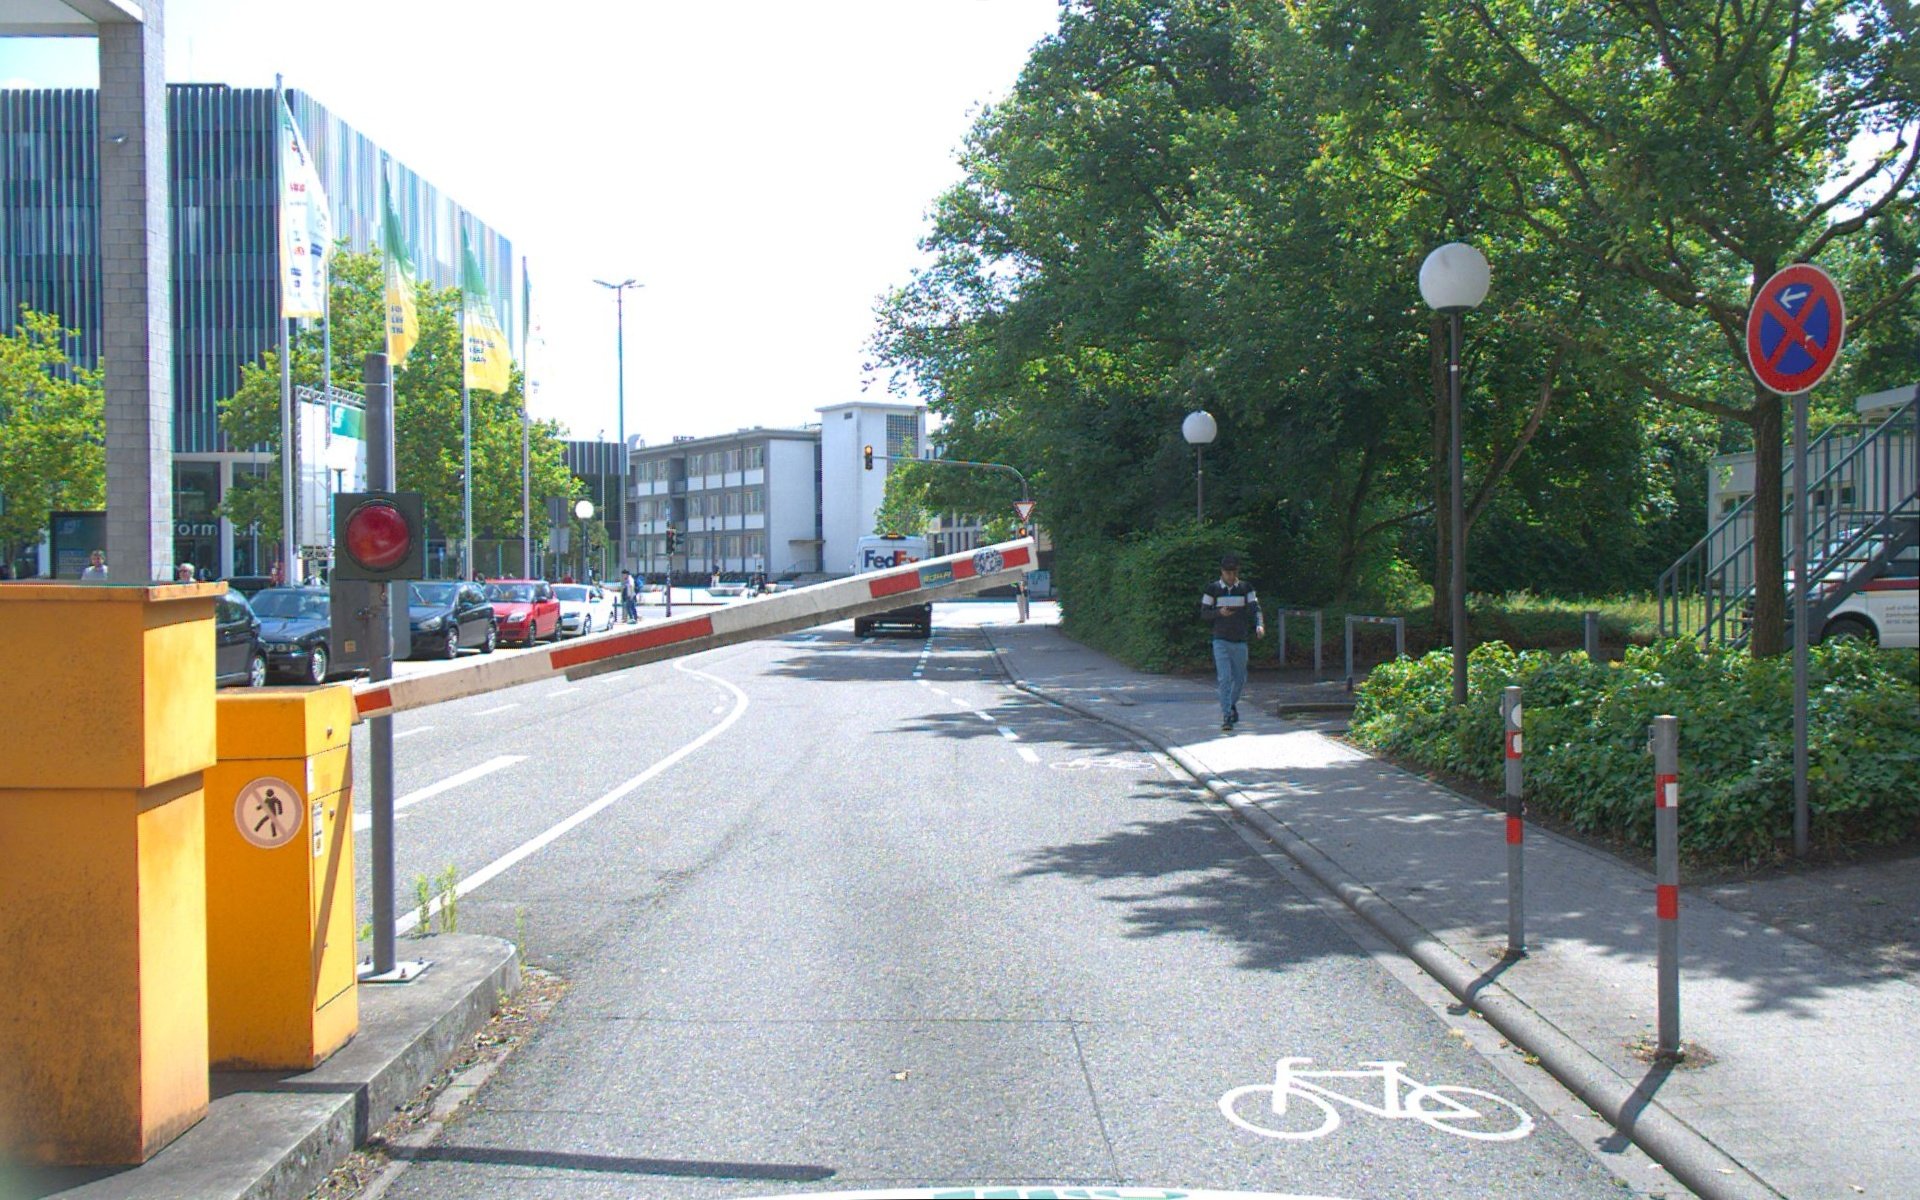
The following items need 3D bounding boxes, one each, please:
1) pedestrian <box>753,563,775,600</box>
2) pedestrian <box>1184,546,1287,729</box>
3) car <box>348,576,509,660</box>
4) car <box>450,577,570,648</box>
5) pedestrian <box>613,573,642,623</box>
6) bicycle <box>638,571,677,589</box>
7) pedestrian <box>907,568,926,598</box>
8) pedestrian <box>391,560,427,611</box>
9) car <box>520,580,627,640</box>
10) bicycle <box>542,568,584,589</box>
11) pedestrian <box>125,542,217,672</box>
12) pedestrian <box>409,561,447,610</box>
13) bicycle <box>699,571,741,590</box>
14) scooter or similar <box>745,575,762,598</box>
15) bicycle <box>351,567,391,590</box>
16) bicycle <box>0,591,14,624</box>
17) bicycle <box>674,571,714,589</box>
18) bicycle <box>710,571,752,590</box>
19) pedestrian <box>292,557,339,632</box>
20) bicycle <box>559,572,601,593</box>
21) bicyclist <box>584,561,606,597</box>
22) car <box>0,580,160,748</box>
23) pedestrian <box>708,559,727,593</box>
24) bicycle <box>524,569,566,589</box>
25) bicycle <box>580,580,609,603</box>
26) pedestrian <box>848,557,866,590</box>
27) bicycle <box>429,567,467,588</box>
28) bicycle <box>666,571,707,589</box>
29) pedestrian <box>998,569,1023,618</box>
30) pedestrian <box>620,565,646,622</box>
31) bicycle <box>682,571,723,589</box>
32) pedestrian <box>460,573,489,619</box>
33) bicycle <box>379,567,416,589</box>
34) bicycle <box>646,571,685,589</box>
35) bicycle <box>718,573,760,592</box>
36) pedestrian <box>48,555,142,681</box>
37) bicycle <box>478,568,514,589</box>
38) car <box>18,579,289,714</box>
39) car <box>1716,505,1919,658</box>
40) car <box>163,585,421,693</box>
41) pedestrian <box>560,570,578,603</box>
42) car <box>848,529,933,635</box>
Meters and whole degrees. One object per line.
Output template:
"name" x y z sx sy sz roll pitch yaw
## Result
"pedestrian" -10.206 -0.959 86.192 1.059 1.903 0.832 -1 1 -2
"pedestrian" 2.672 0.339 16.133 0.724 1.703 1.256 0 1 -4
"car" -10.404 0.299 32.695 1.712 1.492 4.197 2 1 1
"car" -10.321 0.250 38.195 1.642 1.492 3.911 2 1 0
"pedestrian" -11.333 -0.085 56.431 0.826 1.680 0.746 0 1 1
"bicycle" -24.151 -1.594 132.089 2.935 1.387 1.102 0 1 -38
"pedestrian" -2.288 -0.880 86.620 0.812 1.550 0.810 -1 1 -20
"pedestrian" -21.046 -0.548 63.168 0.835 1.909 1.006 0 1 22
"car" -10.044 0.212 43.264 1.642 1.419 4.663 2 1 0
"bicycle" -24.727 -1.346 103.042 2.901 1.259 1.192 1 1 45
"pedestrian" -12.728 0.105 26.730 0.965 2.049 1.164 0 1 -5
"pedestrian" -20.088 -0.555 62.435 0.844 1.850 1.096 0 1 23
"bicycle" -17.923 -1.449 123.461 2.935 1.387 1.258 0 1 -38
"scooter or similar" -11.092 -0.720 88.840 0.703 1.198 2.718 0 1 -11
"bicycle" -33.802 -1.230 94.951 1.363 1.259 2.912 0 1 -37
"bicycle" -33.806 0.245 56.486 2.556 1.133 0.665 0 0 -3
"bicycle" -20.359 -1.538 126.670 2.935 1.387 1.102 0 1 -38
"bicycle" -16.887 -1.427 122.208 2.935 1.387 1.102 0 1 -38
"pedestrian" -16.534 -0.158 42.436 0.704 1.883 1.089 1 1 3
"bicycle" -23.948 -1.100 104.200 2.901 1.259 1.192 1 1 45
"bicyclist" -19.054 -1.099 86.297 0.772 1.849 1.000 -1 1 9
"car" -9.802 0.585 16.010 1.821 1.492 4.718 2 1 -1
"pedestrian" -13.914 -1.365 94.866 0.687 1.887 1.400 -1 2 9
"bicycle" -25.634 -1.298 102.119 2.901 1.259 1.192 1 1 45
"bicycle" -19.060 -0.441 86.296 0.754 1.141 2.028 -1 1 9
"pedestrian" -6.056 -1.588 97.574 0.852 1.922 0.908 -1 1 -20
"bicycle" -30.240 -1.323 97.653 1.188 1.259 2.912 0 1 -37
"bicycle" -21.122 -1.527 127.716 2.935 1.387 1.102 0 1 -38
"pedestrian" 1.678 -0.225 54.697 0.717 1.603 0.775 1 1 -5
"pedestrian" -10.918 -0.213 55.262 0.704 1.891 0.770 0 1 1
"bicycle" -19.577 -1.523 125.621 2.935 1.387 1.102 0 1 -38
"pedestrian" -17.286 -0.148 58.854 0.754 1.625 0.799 -1 1 1
"bicycle" -32.593 -1.255 95.771 1.188 1.259 2.912 0 1 -37
"bicycle" -23.259 -1.570 130.615 2.935 1.387 1.102 0 1 -38
"bicycle" -16.153 -1.302 121.116 2.935 1.387 1.102 0 1 -38
"pedestrian" -14.384 0.286 27.536 0.965 2.049 1.164 0 1 -5
"bicycle" -28.078 -1.321 100.041 1.188 1.259 2.913 0 1 -37
"car" -10.055 0.517 20.931 1.605 1.492 3.706 2 1 -1
"car" 13.592 -0.290 23.549 4.726 2.049 2.062 -1 1 0
"car" -10.110 0.516 25.506 1.821 1.402 5.017 2 1 1
"pedestrian" -20.012 -0.698 84.576 0.738 1.707 0.755 -1 1 -3
"car" -1.769 -0.511 43.823 2.052 2.611 5.601 -1 1 -1
